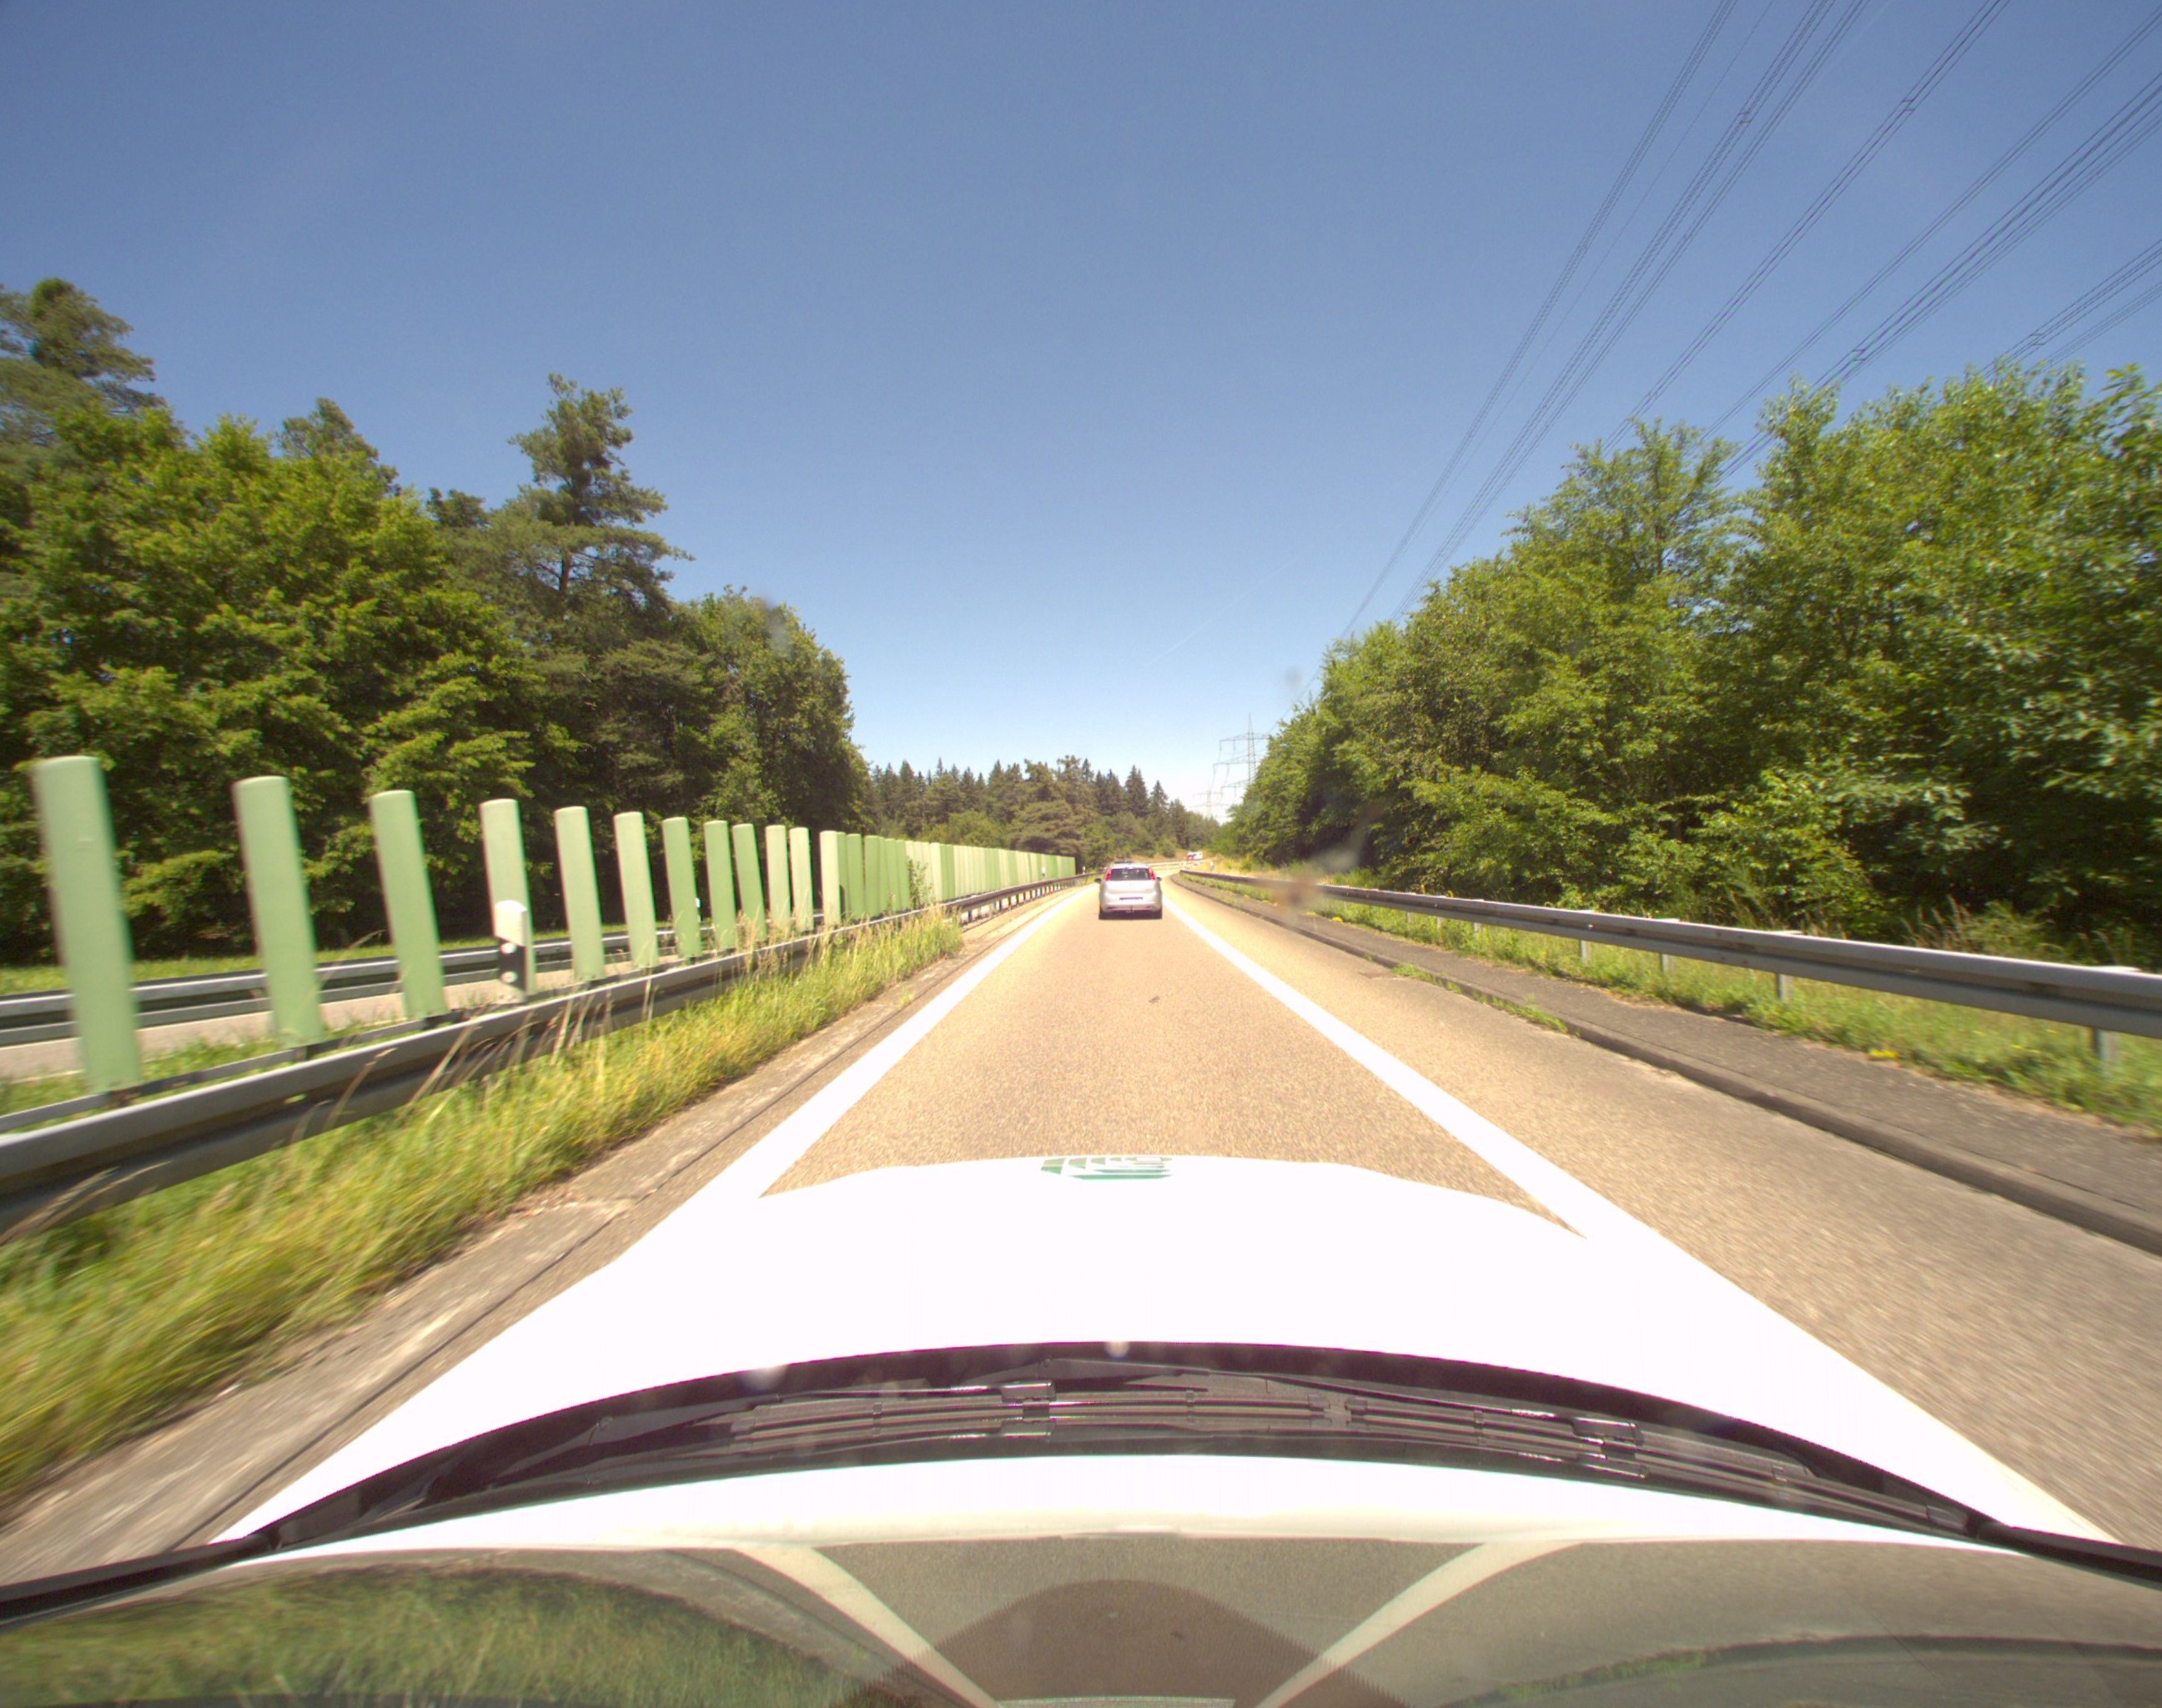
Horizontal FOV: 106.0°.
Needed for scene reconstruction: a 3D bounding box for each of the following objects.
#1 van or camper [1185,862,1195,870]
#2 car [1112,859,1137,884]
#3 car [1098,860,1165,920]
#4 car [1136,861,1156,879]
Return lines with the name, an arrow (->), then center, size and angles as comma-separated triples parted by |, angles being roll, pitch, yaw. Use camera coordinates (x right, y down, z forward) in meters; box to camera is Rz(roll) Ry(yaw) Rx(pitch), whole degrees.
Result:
van or camper -> 23.647, 2.562, 176.796 | 1.795, 1.486, 4.014 | -2, 0, 12
car -> 3.106, 1.231, 58.593 | 1.700, 1.676, 3.399 | -1, 0, 1
car -> 1.386, 0.930, 22.527 | 1.699, 1.482, 3.400 | -1, 0, 3
car -> 6.940, 1.726, 87.593 | 1.874, 1.684, 4.002 | -4, -1, 2
